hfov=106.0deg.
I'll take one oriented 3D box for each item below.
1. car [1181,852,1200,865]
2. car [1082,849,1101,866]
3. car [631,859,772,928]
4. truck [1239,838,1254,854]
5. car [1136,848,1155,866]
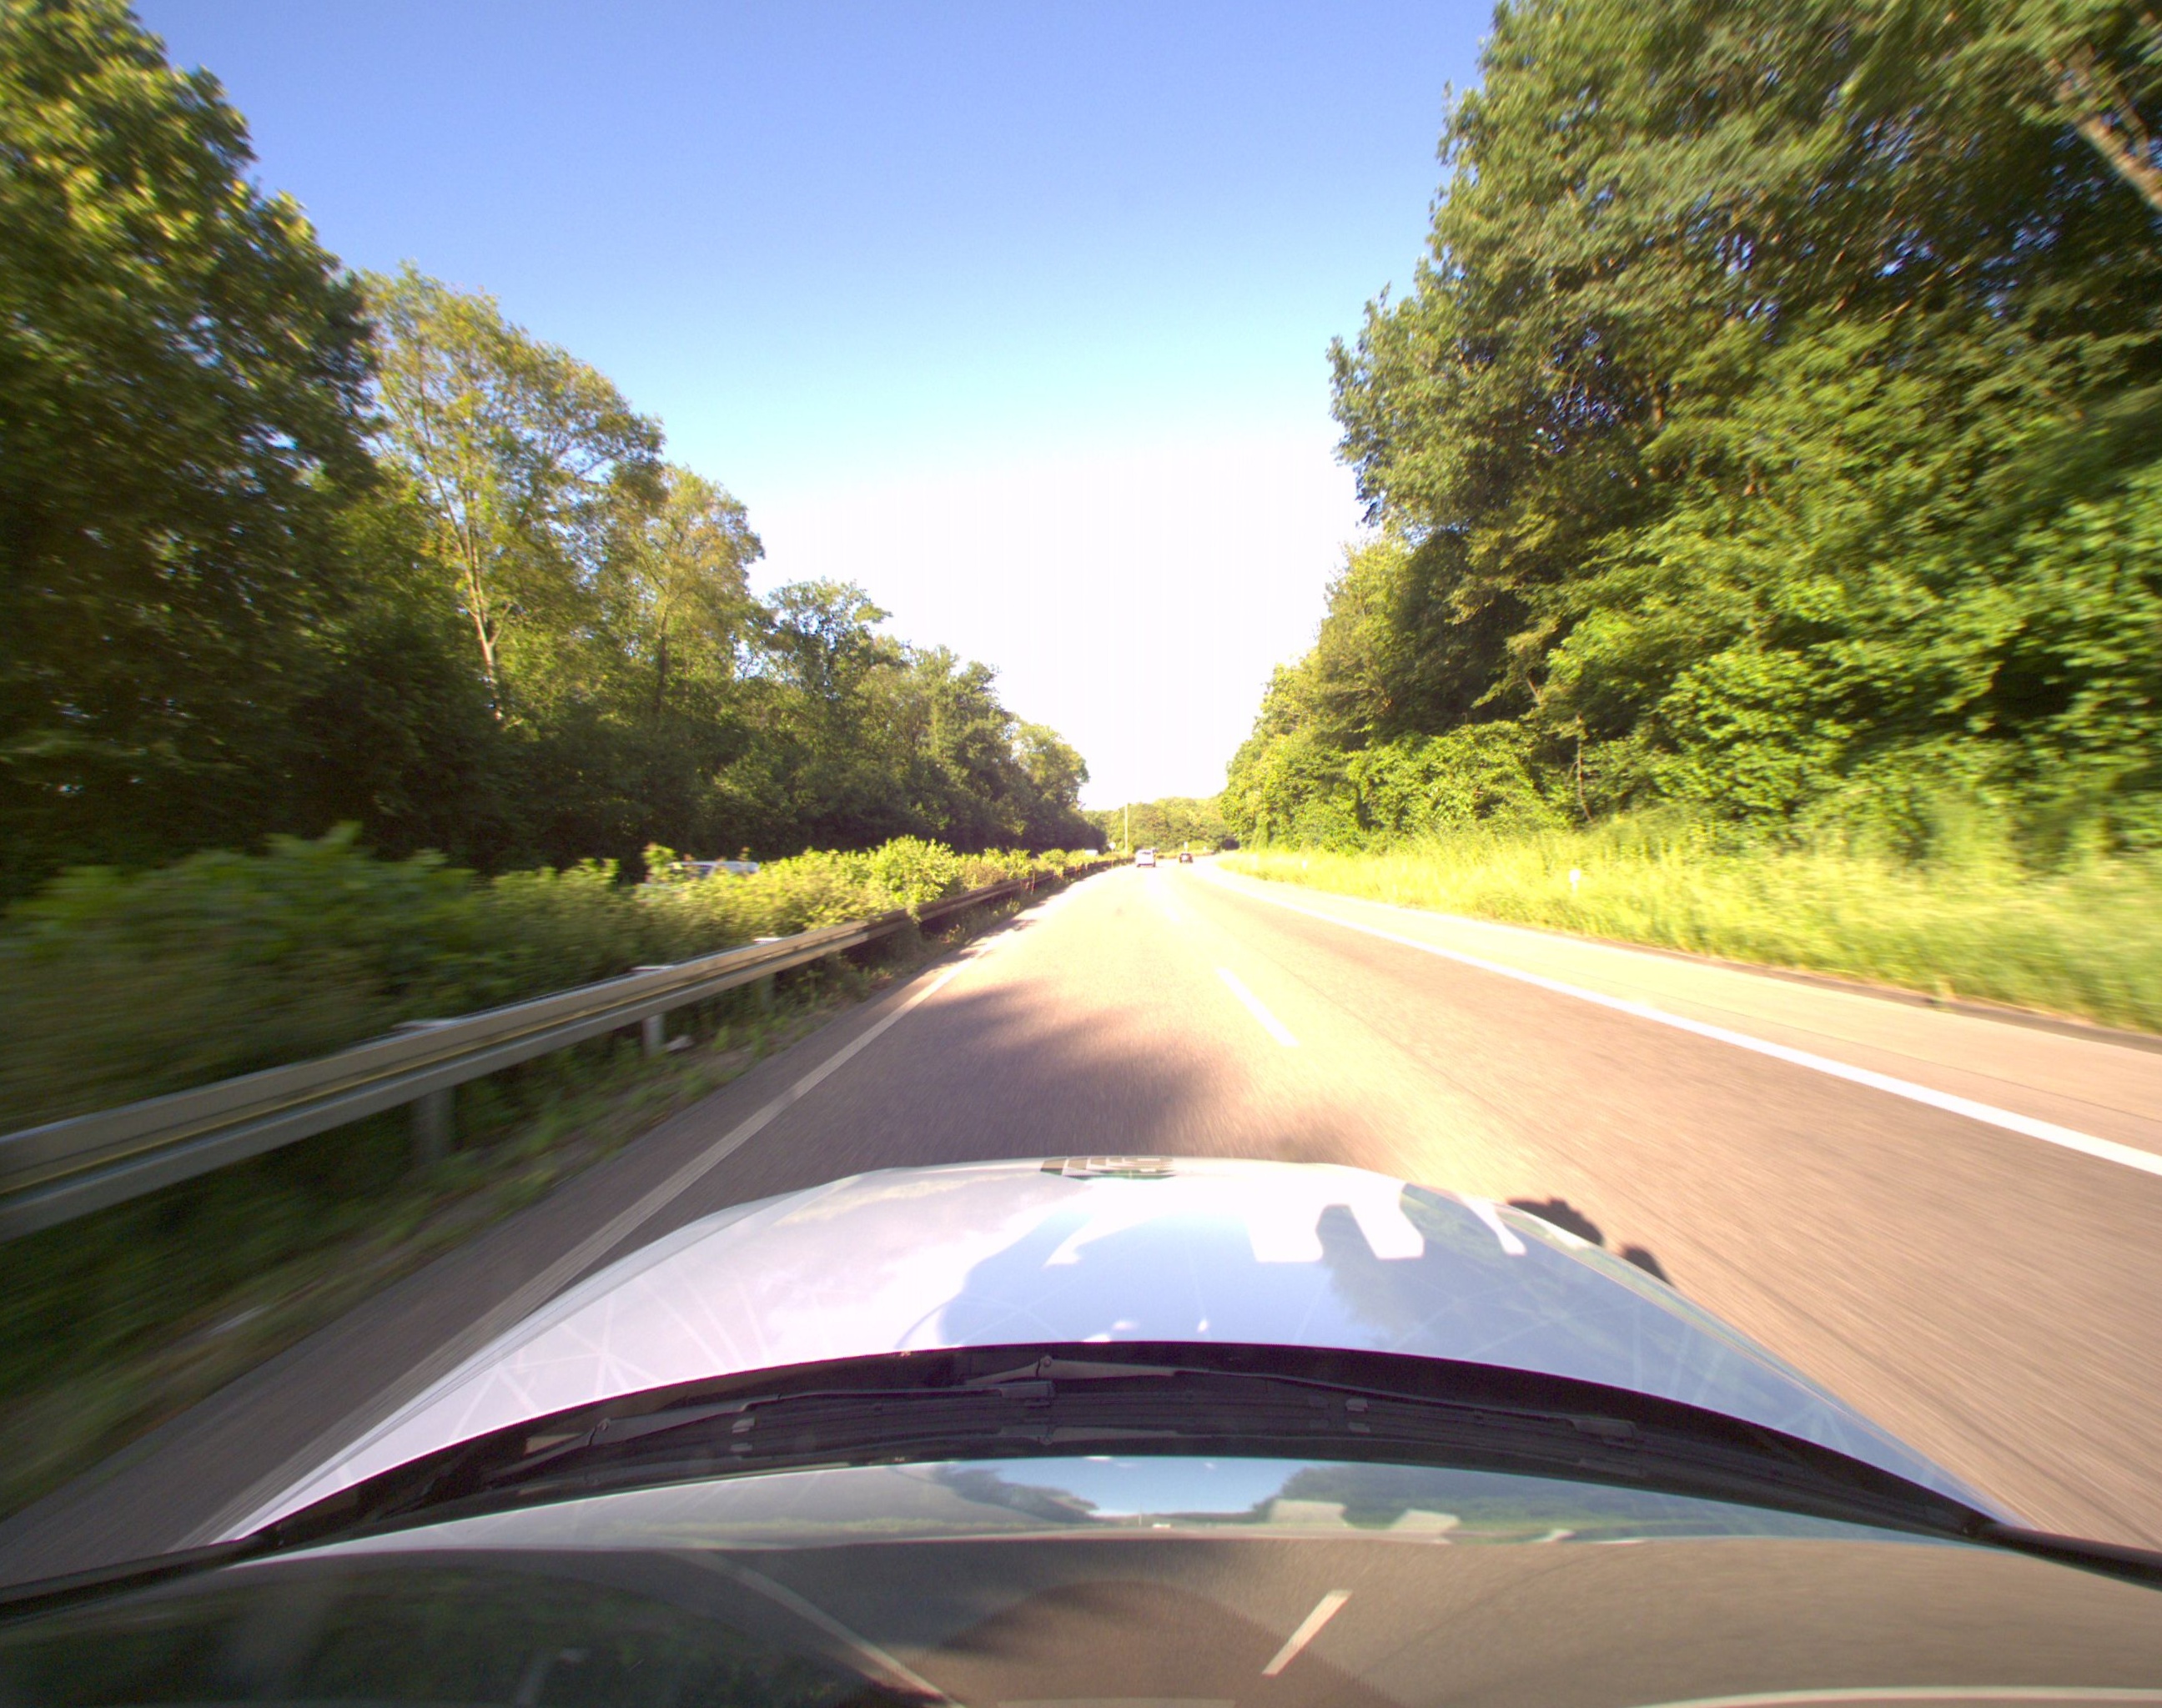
[{"bbox_3d":[15.518,0.699,115.260,1.936,1.782,4.609,-1,0,18],"label":"car"},{"bbox_3d":[1.438,0.484,107.256,1.905,2.253,5.794,-1,0,6],"label":"car"},{"bbox_3d":[-11.252,1.088,24.587,1.987,1.861,4.710,0,0,1],"label":"car"},{"bbox_3d":[46.095,-2.157,226.065,3.708,4.343,9.338,-1,0,13],"label":"truck"},{"bbox_3d":[6.711,0.292,84.445,1.942,1.782,4.593,-1,0,4],"label":"car"}]
